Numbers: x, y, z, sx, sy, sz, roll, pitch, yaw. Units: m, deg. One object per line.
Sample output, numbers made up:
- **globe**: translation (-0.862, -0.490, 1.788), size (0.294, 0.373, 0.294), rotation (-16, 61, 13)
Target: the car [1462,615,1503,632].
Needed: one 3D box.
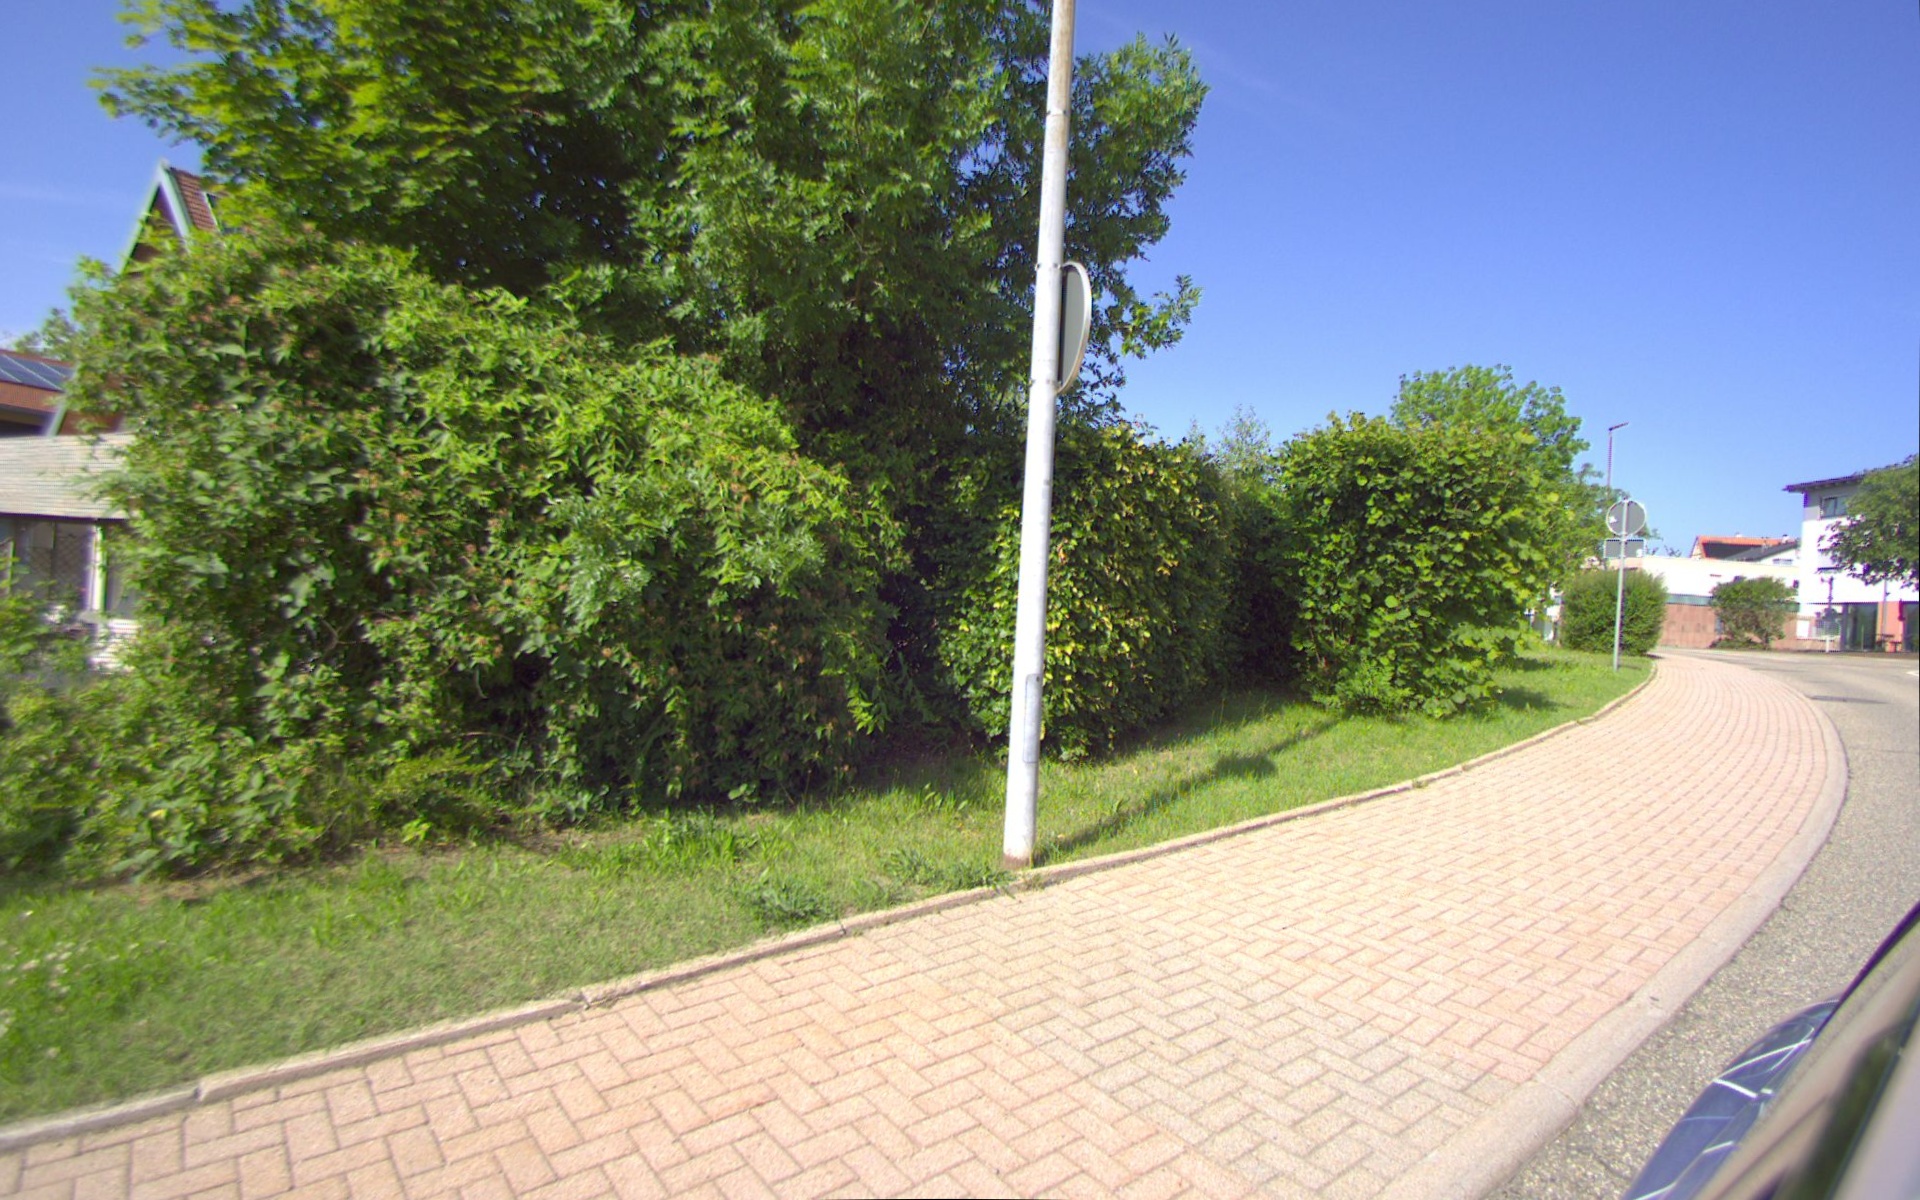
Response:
- **car**: translation (45.511, 2.038, 88.216), size (1.743, 1.487, 3.711), rotation (0, -1, 2)

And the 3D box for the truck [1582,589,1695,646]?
- **truck**: translation (30.594, 0.881, 45.919), size (1.970, 2.372, 6.466), rotation (-1, -3, 13)
